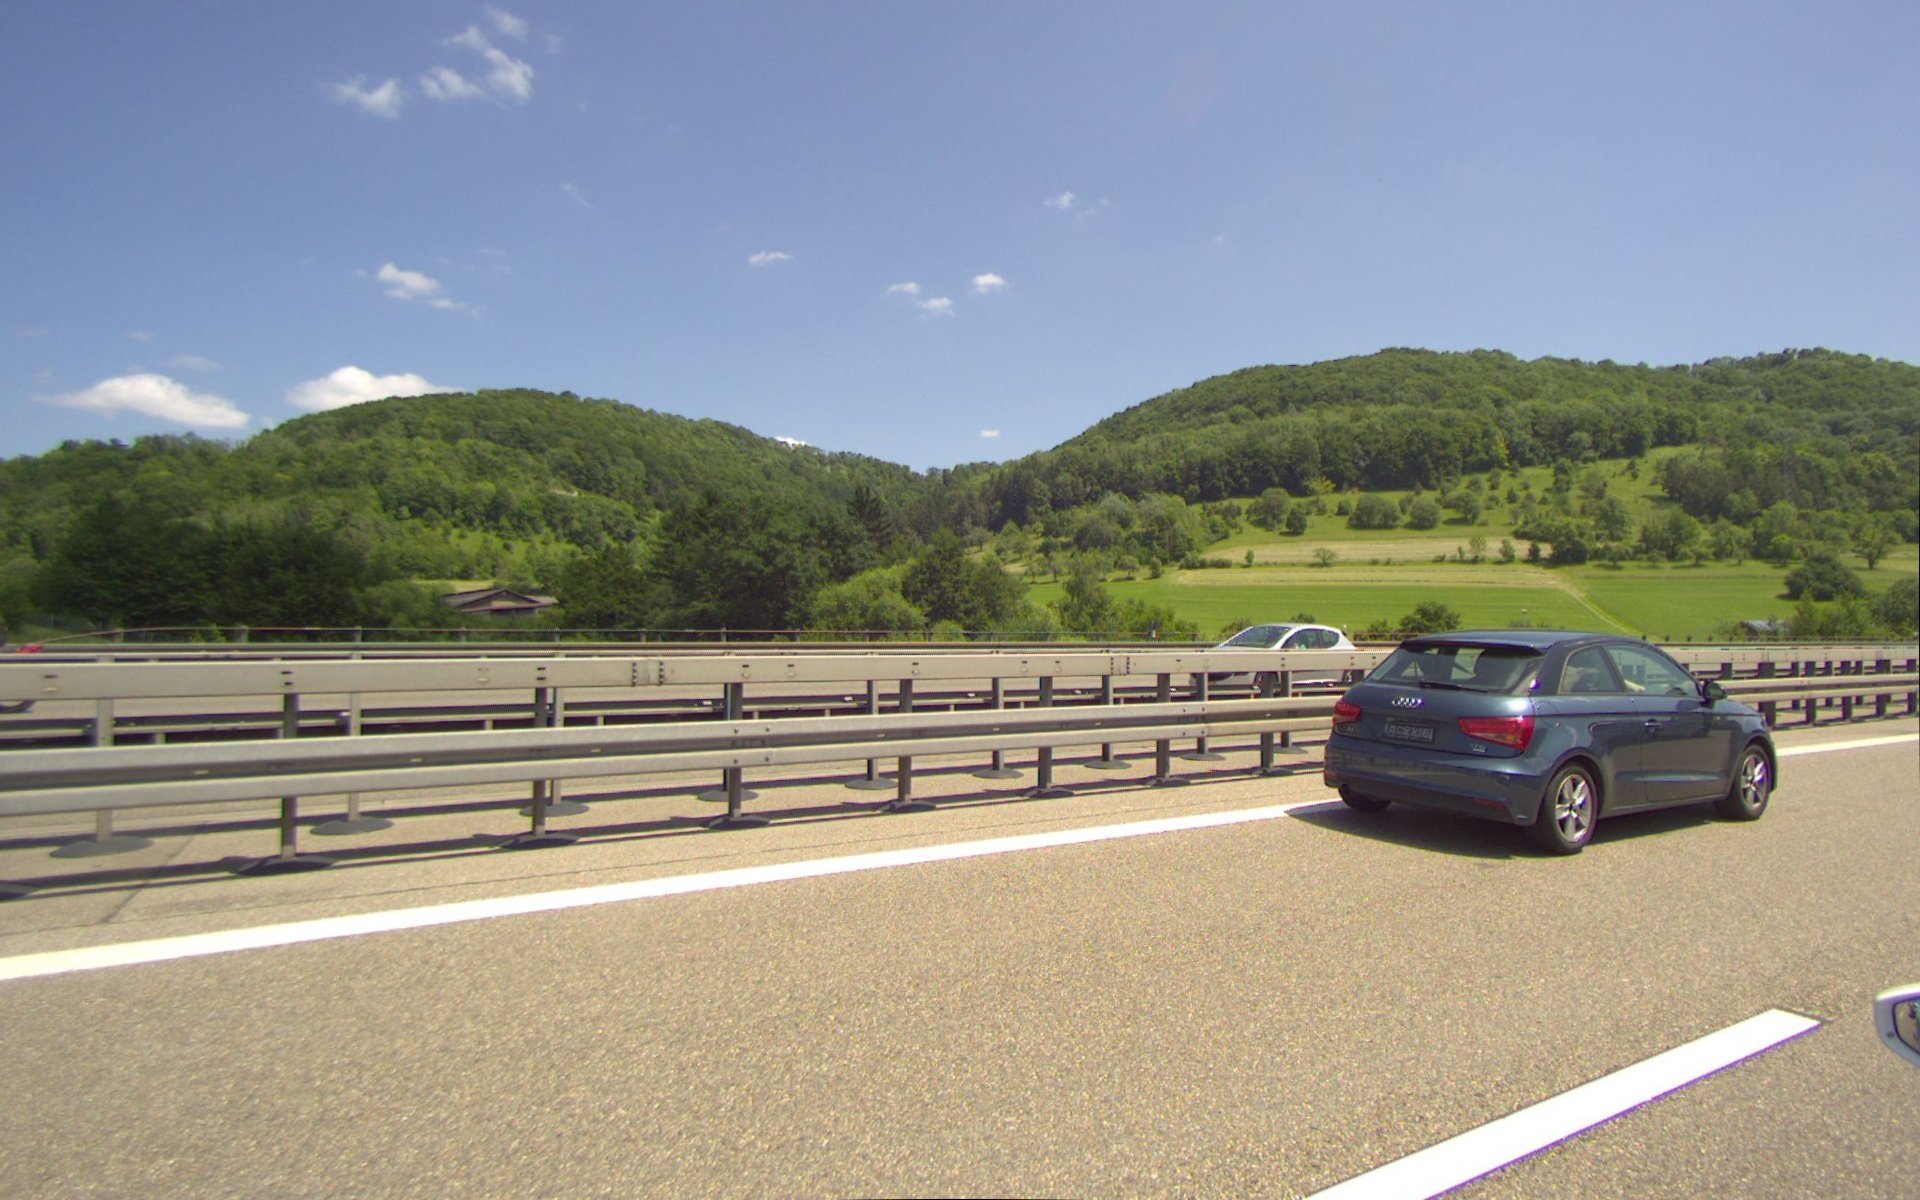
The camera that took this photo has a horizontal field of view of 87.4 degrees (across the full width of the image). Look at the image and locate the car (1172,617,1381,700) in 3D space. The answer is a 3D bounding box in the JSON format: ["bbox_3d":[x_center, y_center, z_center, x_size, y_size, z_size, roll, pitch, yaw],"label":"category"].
[{"bbox_3d":[6.539,1.149,20.701,3.953,1.517,1.984,1,0,-30],"label":"car"}]

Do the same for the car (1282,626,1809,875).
[{"bbox_3d":[4.447,0.923,7.507,3.952,1.407,1.681,1,-1,-30],"label":"car"}]

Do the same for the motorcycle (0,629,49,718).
[{"bbox_3d":[-13.589,0.973,13.315,2.106,1.164,0.714,1,-1,-32],"label":"motorcycle"}]
